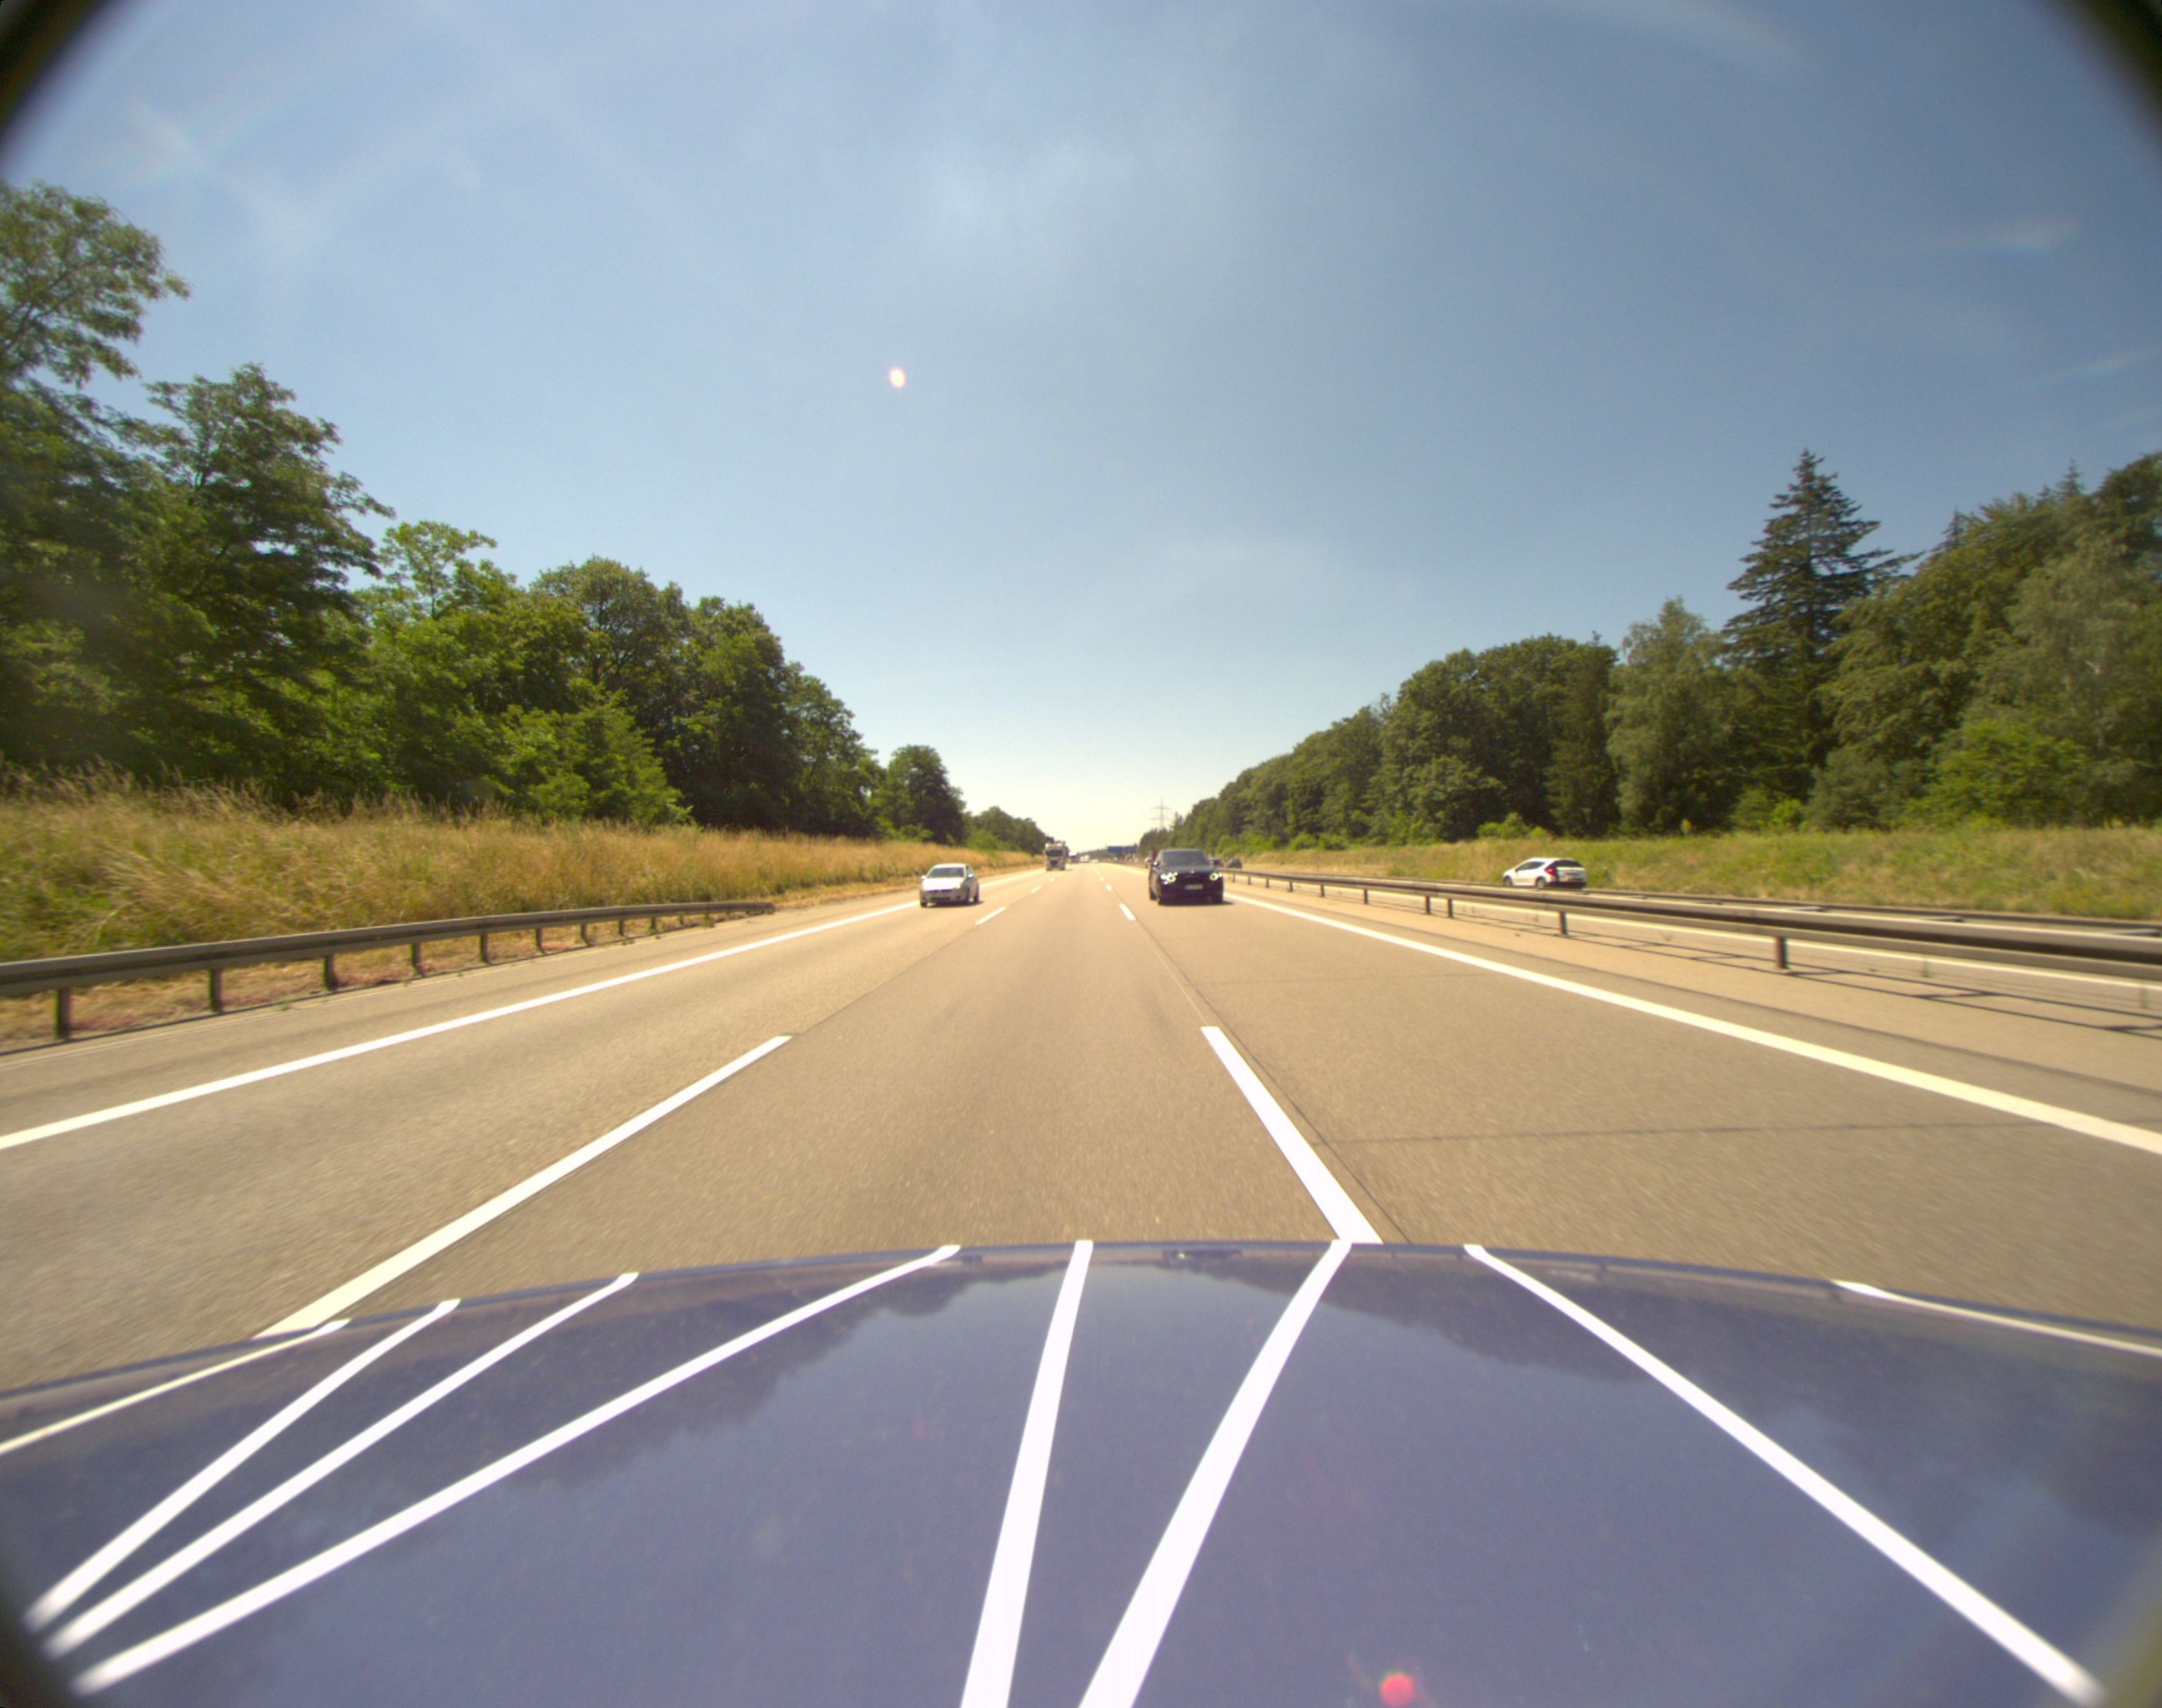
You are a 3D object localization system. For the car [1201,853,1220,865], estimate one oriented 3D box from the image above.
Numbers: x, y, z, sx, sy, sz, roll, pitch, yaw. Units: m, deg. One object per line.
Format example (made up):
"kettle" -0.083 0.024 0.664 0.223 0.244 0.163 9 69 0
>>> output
"car" 18.732 0.671 110.055 1.799 1.609 4.986 2 0 0

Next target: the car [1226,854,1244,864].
"car" 21.851 0.720 107.927 1.675 1.401 4.597 2 0 0

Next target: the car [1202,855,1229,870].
"car" 13.668 0.865 77.584 1.799 1.465 4.986 2 0 0

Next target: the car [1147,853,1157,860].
"car" 15.564 0.621 166.212 1.766 1.451 5.120 2 0 0

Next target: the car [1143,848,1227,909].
"car" 3.302 0.730 25.335 1.945 1.742 5.813 -2 0 0

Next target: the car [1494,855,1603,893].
"car" 20.676 0.852 33.873 1.799 1.508 4.903 2 0 0

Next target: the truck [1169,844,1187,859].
"truck" 23.092 -0.579 180.988 2.739 3.498 10.441 2 0 0

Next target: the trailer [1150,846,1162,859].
"trailer" 23.926 -0.489 243.906 2.511 3.991 14.367 2 0 1

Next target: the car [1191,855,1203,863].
"car" 23.204 1.020 152.305 1.658 1.403 5.176 1 0 0

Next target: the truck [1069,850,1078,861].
"truck" -2.509 0.500 258.004 2.593 3.534 8.649 -2 0 1

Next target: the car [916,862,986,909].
"car" -4.650 1.079 27.697 1.749 1.457 3.980 -2 0 1

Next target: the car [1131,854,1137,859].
"car" 14.885 0.632 214.729 1.520 1.459 3.639 2 0 0

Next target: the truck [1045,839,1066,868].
"truck" -3.586 -0.036 107.366 2.605 3.811 5.969 -2 0 1

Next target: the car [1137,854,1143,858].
"car" 19.832 0.630 255.119 1.608 1.550 4.469 2 0 0
